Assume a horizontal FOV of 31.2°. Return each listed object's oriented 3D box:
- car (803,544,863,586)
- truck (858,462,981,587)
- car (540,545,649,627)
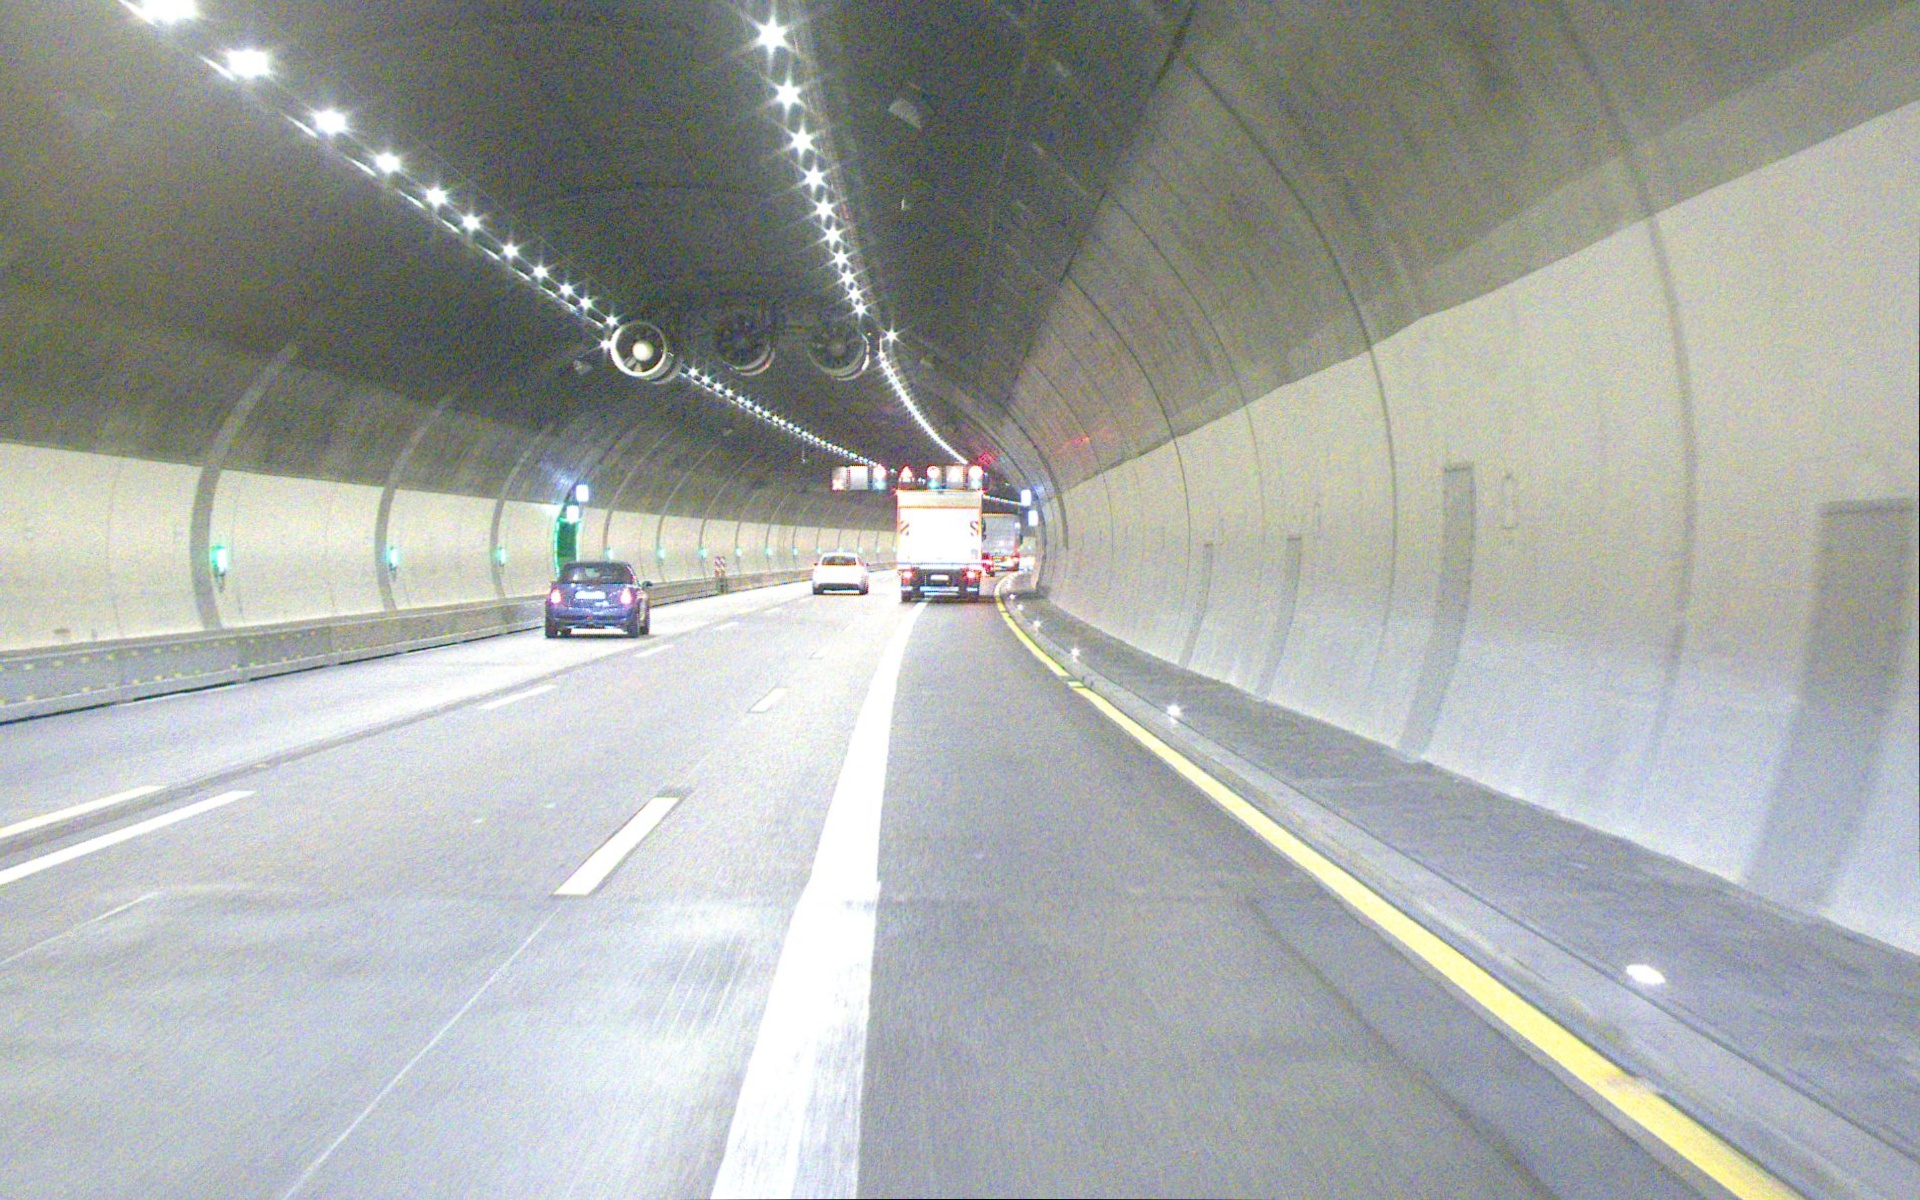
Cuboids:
[{"bbox_3d":[-4.431,-1.235,120.477,1.993,1.408,4.743,1,1,-1],"label":"car"},{"bbox_3d":[-1.270,-2.353,107.893,3.592,3.638,10.723,1,1,-1],"label":"truck"},{"bbox_3d":[-6.678,-0.275,63.118,1.689,1.412,3.923,1,1,-2],"label":"car"}]
